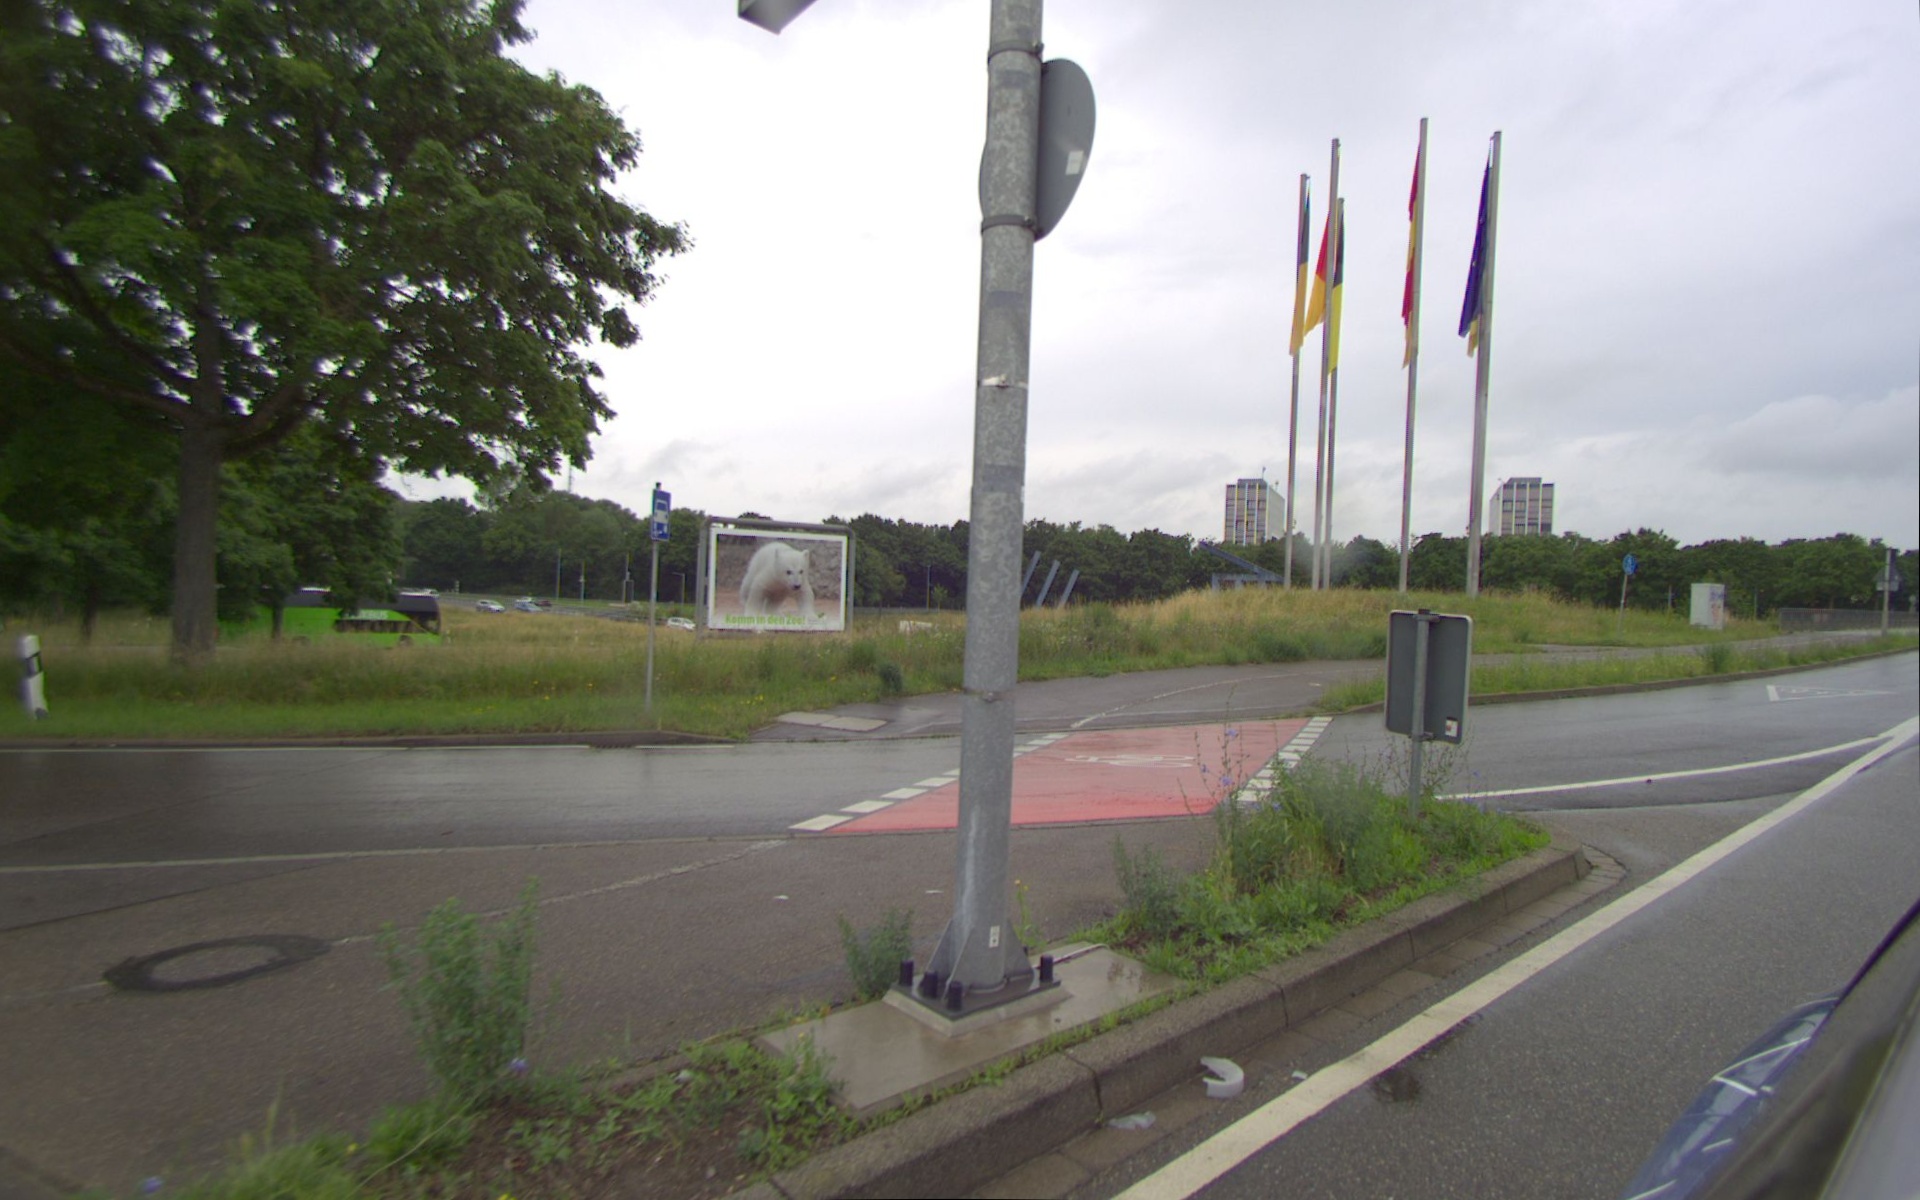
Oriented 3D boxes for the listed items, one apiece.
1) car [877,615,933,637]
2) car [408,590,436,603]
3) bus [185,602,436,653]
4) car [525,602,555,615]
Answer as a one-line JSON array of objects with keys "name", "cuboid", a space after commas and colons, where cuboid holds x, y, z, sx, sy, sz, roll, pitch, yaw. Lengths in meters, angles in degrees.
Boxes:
[{"name": "car", "cuboid": [-4.971, 2.298, 91.039, 4.703, 1.719, 1.980, 2, 1, 29]}, {"name": "car", "cuboid": [-79.308, -0.522, 149.179, 3.974, 1.725, 1.975, 1, 0, 35]}, {"name": "bus", "cuboid": [-41.627, 1.626, 65.979, 2.736, 2.713, 14.457, 1, 1, 26]}, {"name": "car", "cuboid": [-56.005, 1.144, 134.934, 3.976, 1.585, 1.819, 1, 0, 36]}]
